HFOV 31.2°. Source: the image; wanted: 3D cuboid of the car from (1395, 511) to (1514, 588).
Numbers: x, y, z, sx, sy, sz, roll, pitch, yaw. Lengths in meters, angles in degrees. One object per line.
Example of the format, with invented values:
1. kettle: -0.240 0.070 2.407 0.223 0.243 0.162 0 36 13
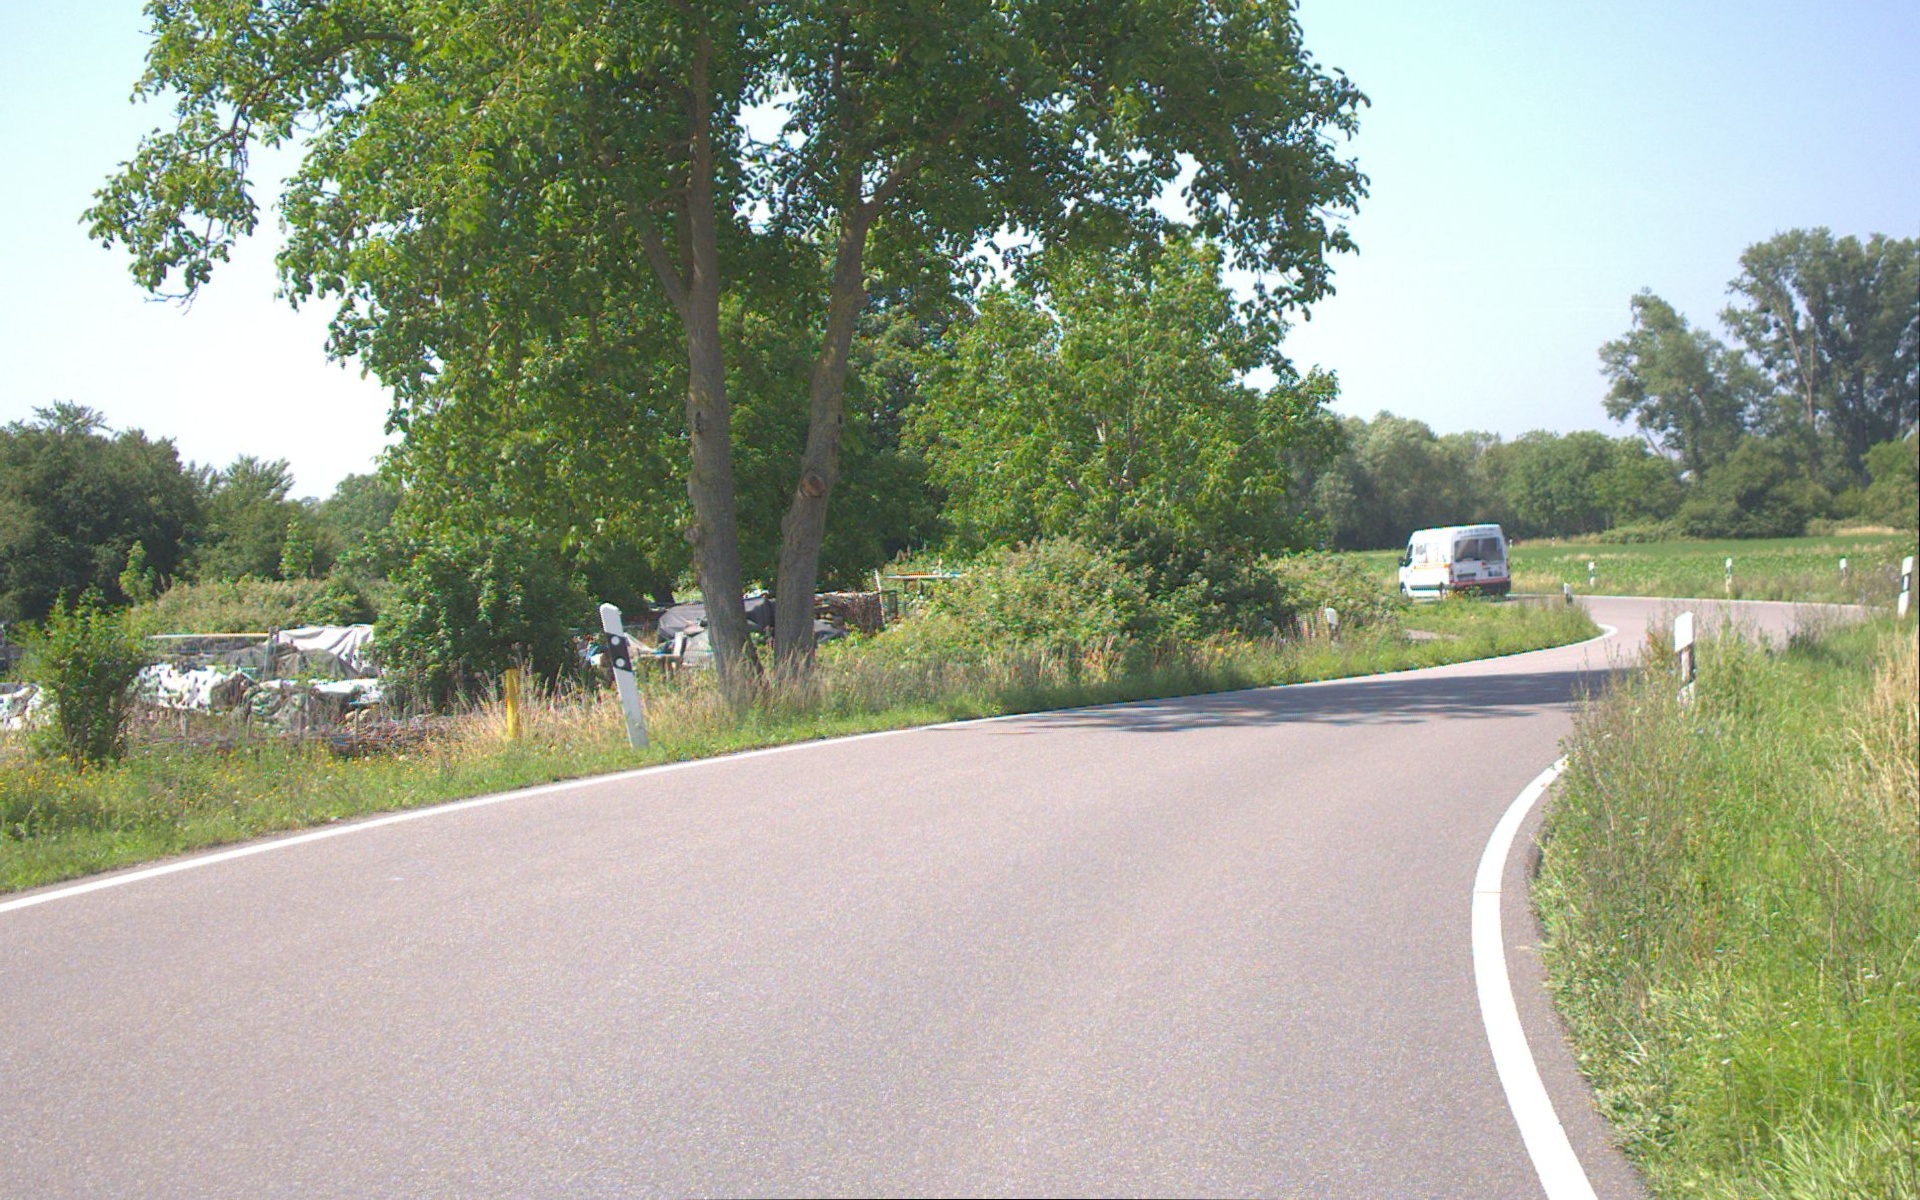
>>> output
1. car: 15.891 -1.645 110.723 2.103 2.359 5.688 -2 1 -9
